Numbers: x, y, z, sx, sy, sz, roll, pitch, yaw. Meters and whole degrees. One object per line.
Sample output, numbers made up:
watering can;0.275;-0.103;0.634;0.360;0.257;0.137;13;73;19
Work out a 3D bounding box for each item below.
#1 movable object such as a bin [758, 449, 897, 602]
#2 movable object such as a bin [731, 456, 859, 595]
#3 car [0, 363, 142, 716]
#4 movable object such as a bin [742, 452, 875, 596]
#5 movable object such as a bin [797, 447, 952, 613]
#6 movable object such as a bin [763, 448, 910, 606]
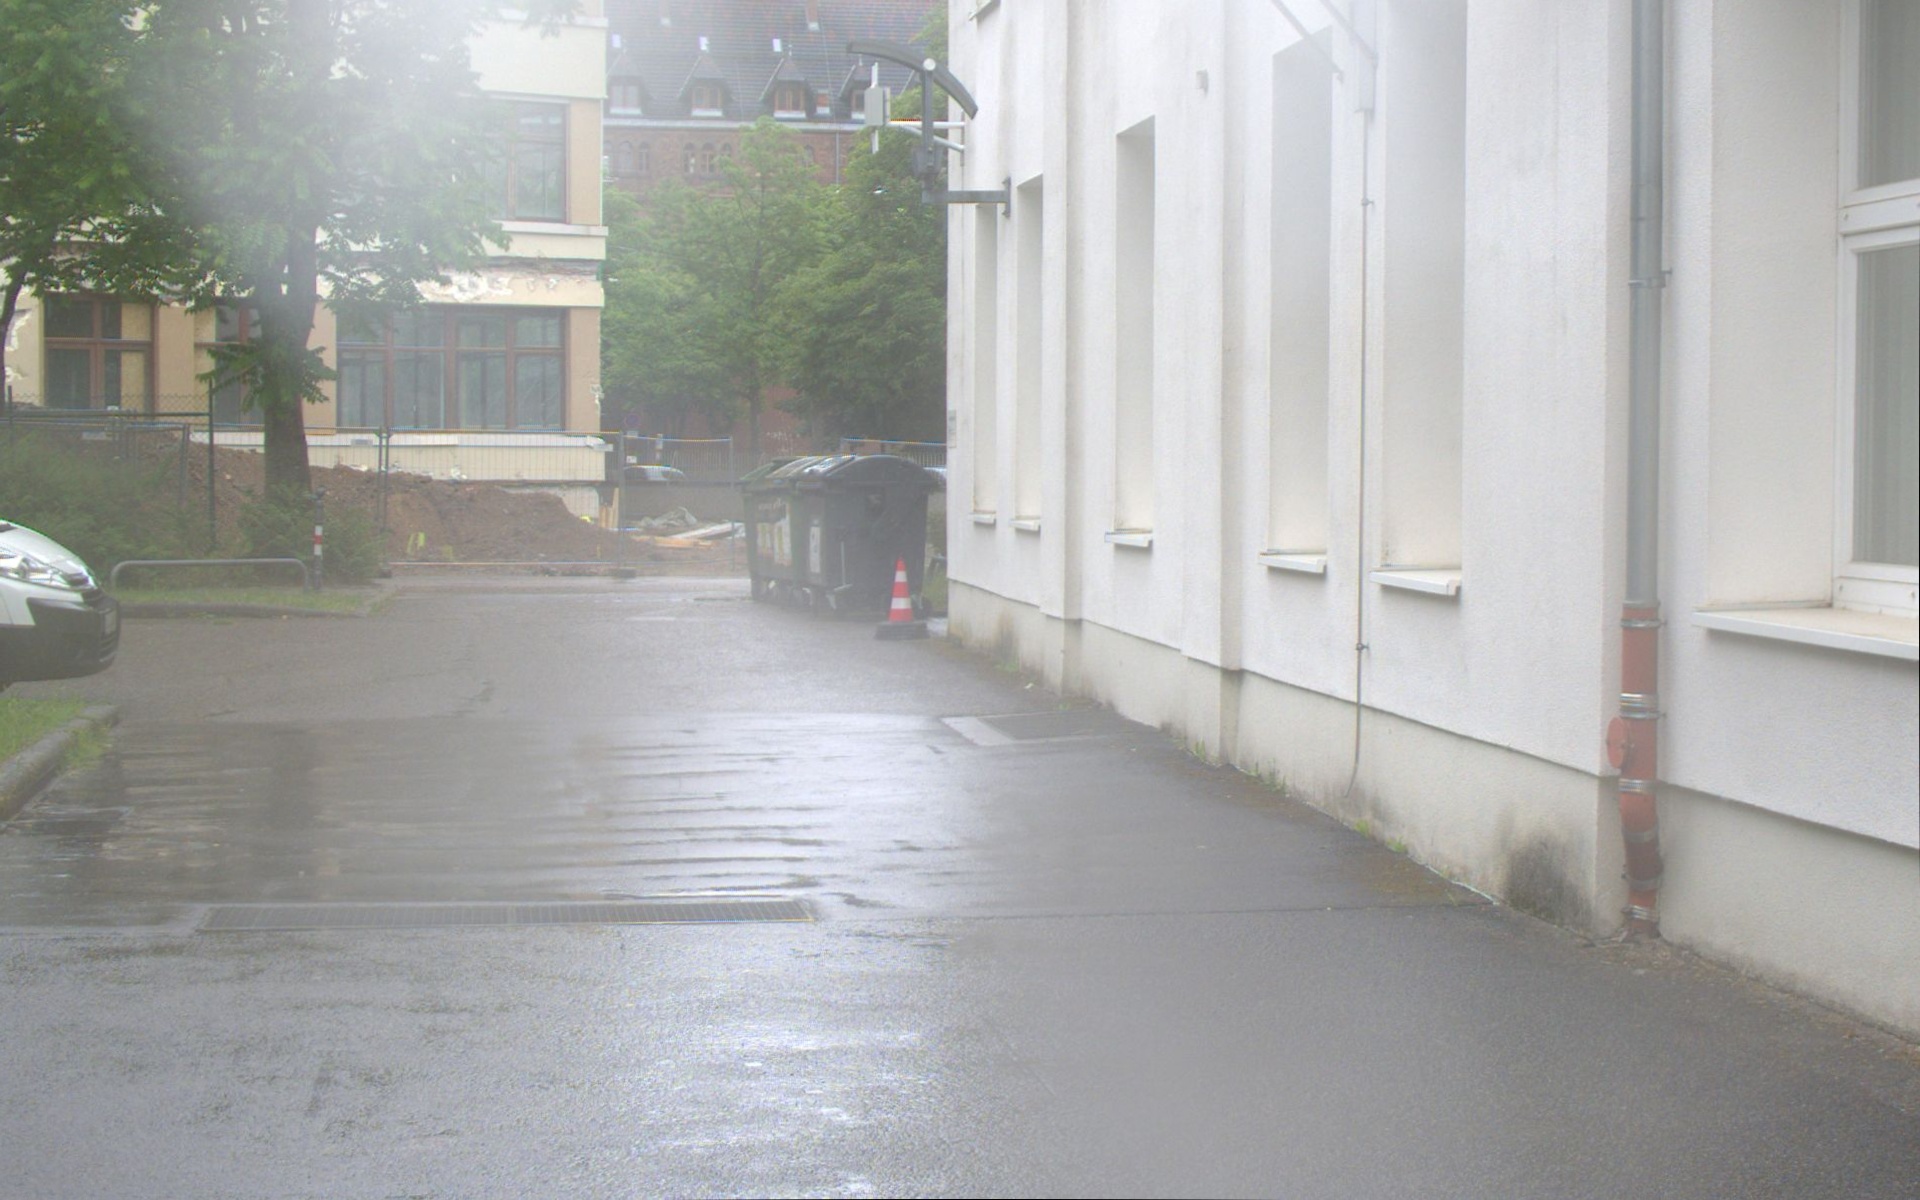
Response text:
movable object such as a bin;-1.318;-0.726;33.833;1.214;1.463;1.236;1;0;-9
movable object such as a bin;-1.760;-0.779;36.555;1.214;1.432;1.259;1;0;-9
car;-7.422;-0.383;20.353;4.779;2.006;2.001;0;3;-6
movable object such as a bin;-1.558;-0.770;35.190;1.214;1.432;1.259;1;0;-9
movable object such as a bin;-0.771;-0.612;30.551;1.214;1.432;1.236;1;0;-9
movable object such as a bin;-1.171;-0.675;32.206;1.214;1.432;1.294;1;0;-9
